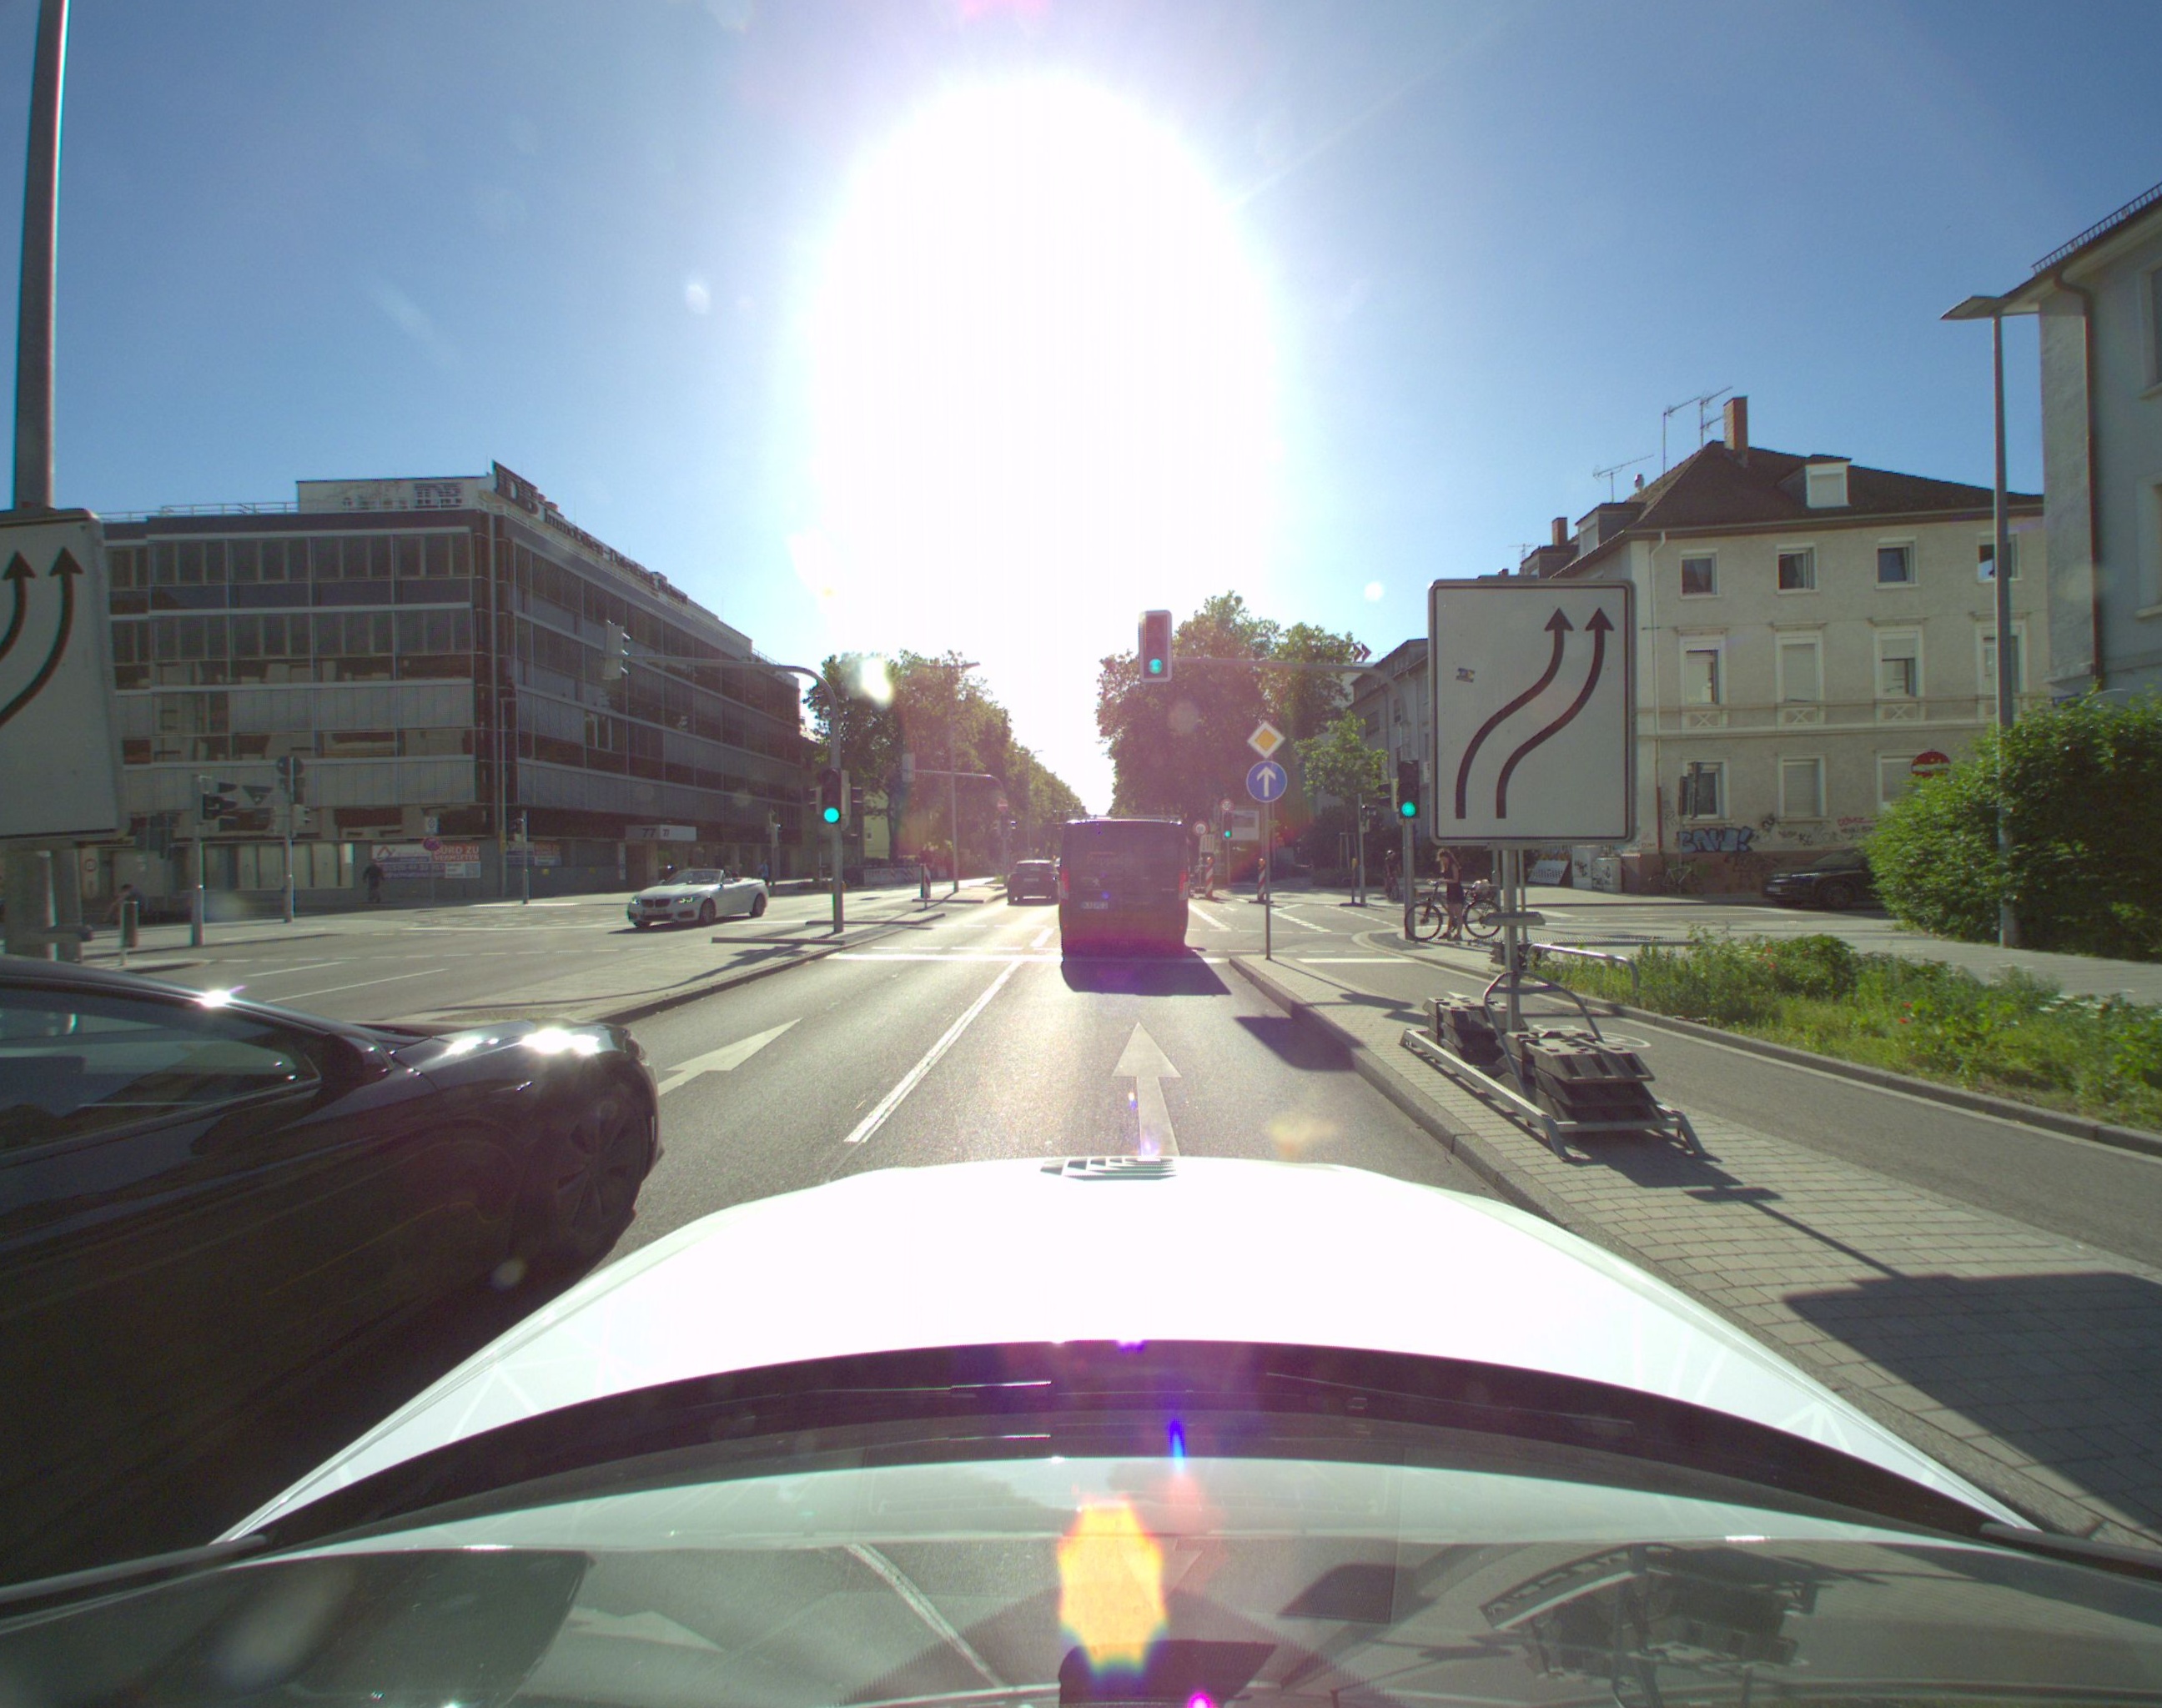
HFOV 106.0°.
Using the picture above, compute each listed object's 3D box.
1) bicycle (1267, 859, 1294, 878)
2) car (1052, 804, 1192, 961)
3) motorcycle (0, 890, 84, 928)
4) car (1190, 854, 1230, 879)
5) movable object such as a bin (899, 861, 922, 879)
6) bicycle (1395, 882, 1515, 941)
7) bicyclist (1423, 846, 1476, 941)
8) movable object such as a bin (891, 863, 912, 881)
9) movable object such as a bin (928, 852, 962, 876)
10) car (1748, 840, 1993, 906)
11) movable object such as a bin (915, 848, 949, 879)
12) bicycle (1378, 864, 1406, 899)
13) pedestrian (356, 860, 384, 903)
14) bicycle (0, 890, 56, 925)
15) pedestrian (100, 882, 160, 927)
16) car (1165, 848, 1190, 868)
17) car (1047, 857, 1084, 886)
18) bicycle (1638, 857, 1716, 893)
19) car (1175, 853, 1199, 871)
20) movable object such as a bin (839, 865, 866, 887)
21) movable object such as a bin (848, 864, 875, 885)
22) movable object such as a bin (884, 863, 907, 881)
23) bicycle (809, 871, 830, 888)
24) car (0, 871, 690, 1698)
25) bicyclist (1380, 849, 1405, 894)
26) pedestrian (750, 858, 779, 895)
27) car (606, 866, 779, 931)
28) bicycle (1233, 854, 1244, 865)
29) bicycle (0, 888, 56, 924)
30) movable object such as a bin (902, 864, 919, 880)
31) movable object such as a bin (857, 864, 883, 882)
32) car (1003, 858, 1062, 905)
[{"bbox_3d":[10.646,0.764,43.340,0.581,1.005,2.145,-1,0,37],"label":"bicycle"},{"bbox_3d":[0.679,0.410,14.245,2.087,2.355,3.935,0,0,2],"label":"car"},{"bbox_3d":[-28.619,1.489,22.181,0.500,0.936,1.847,-1,0,10],"label":"motorcycle"},{"bbox_3d":[8.215,0.784,52.149,1.845,1.479,4.943,-1,0,1],"label":"car"},{"bbox_3d":[-14.277,1.329,68.083,1.637,1.423,1.253,-1,0,-23],"label":"movable object such as a bin"},{"bbox_3d":[6.934,1.059,15.158,1.955,1.025,0.605,0,0,1],"label":"bicycle"},{"bbox_3d":[6.876,0.709,15.215,0.601,1.708,0.859,-1,0,2],"label":"bicyclist"},{"bbox_3d":[-14.094,1.390,63.913,1.403,1.338,0.937,-1,0,4],"label":"movable object such as a bin"},{"bbox_3d":[-13.757,0.971,82.560,1.984,2.278,5.606,-2,0,5],"label":"movable object such as a bin"},{"bbox_3d":[20.368,0.484,21.200,4.227,1.619,1.989,0,-1,7],"label":"car"},{"bbox_3d":[-13.932,0.854,76.377,2.140,2.706,5.353,-1,0,0],"label":"movable object such as a bin"},{"bbox_3d":[10.535,0.910,27.624,0.683,1.098,1.693,-1,0,14],"label":"bicycle"},{"bbox_3d":[-28.209,1.069,32.321,0.703,1.658,0.739,-1,0,-31],"label":"pedestrian"},{"bbox_3d":[-30.770,1.538,23.192,0.474,0.947,1.957,-1,0,11],"label":"bicycle"},{"bbox_3d":[-25.717,1.357,22.036,0.717,1.153,0.786,-1,0,-10],"label":"pedestrian"},{"bbox_3d":[9.801,0.418,83.041,2.018,1.946,5.276,-1,0,2],"label":"car"},{"bbox_3d":[-0.755,0.873,41.656,1.740,1.407,4.000,0,0,1],"label":"car"},{"bbox_3d":[18.809,0.660,25.733,1.987,1.080,0.580,-1,0,4],"label":"bicycle"},{"bbox_3d":[9.239,0.720,71.365,1.756,1.508,4.253,-1,0,2],"label":"car"},{"bbox_3d":[-15.020,1.411,53.501,1.109,1.388,1.858,-1,0,4],"label":"movable object such as a bin"},{"bbox_3d":[-15.008,1.379,55.840,1.209,1.388,1.858,-1,0,4],"label":"movable object such as a bin"},{"bbox_3d":[-14.334,1.404,62.834,1.403,1.338,1.158,-1,0,4],"label":"movable object such as a bin"},{"bbox_3d":[-16.372,1.598,51.006,0.624,1.037,1.881,-1,0,4],"label":"bicycle"},{"bbox_3d":[-2.885,0.808,1.535,1.918,1.412,4.628,-1,0,2],"label":"car"},{"bbox_3d":[10.475,0.576,27.424,0.718,1.499,0.875,-1,0,17],"label":"bicyclist"},{"bbox_3d":[-15.171,1.070,39.092,0.859,1.710,1.015,-1,0,9],"label":"pedestrian"},{"bbox_3d":[-9.643,1.054,20.662,1.921,1.345,4.324,-1,0,6],"label":"car"},{"bbox_3d":[14.392,0.471,74.654,0.779,0.966,1.825,-1,0,5],"label":"bicycle"},{"bbox_3d":[-30.230,1.471,22.767,0.502,0.978,1.894,-1,0,19],"label":"bicycle"},{"bbox_3d":[-13.845,1.433,66.244,0.976,1.271,1.541,-1,0,2],"label":"movable object such as a bin"},{"bbox_3d":[-14.891,1.359,57.577,1.387,1.203,1.243,-1,0,5],"label":"movable object such as a bin"},{"bbox_3d":[-1.619,0.891,28.461,1.740,1.407,4.001,0,1,1],"label":"car"}]
